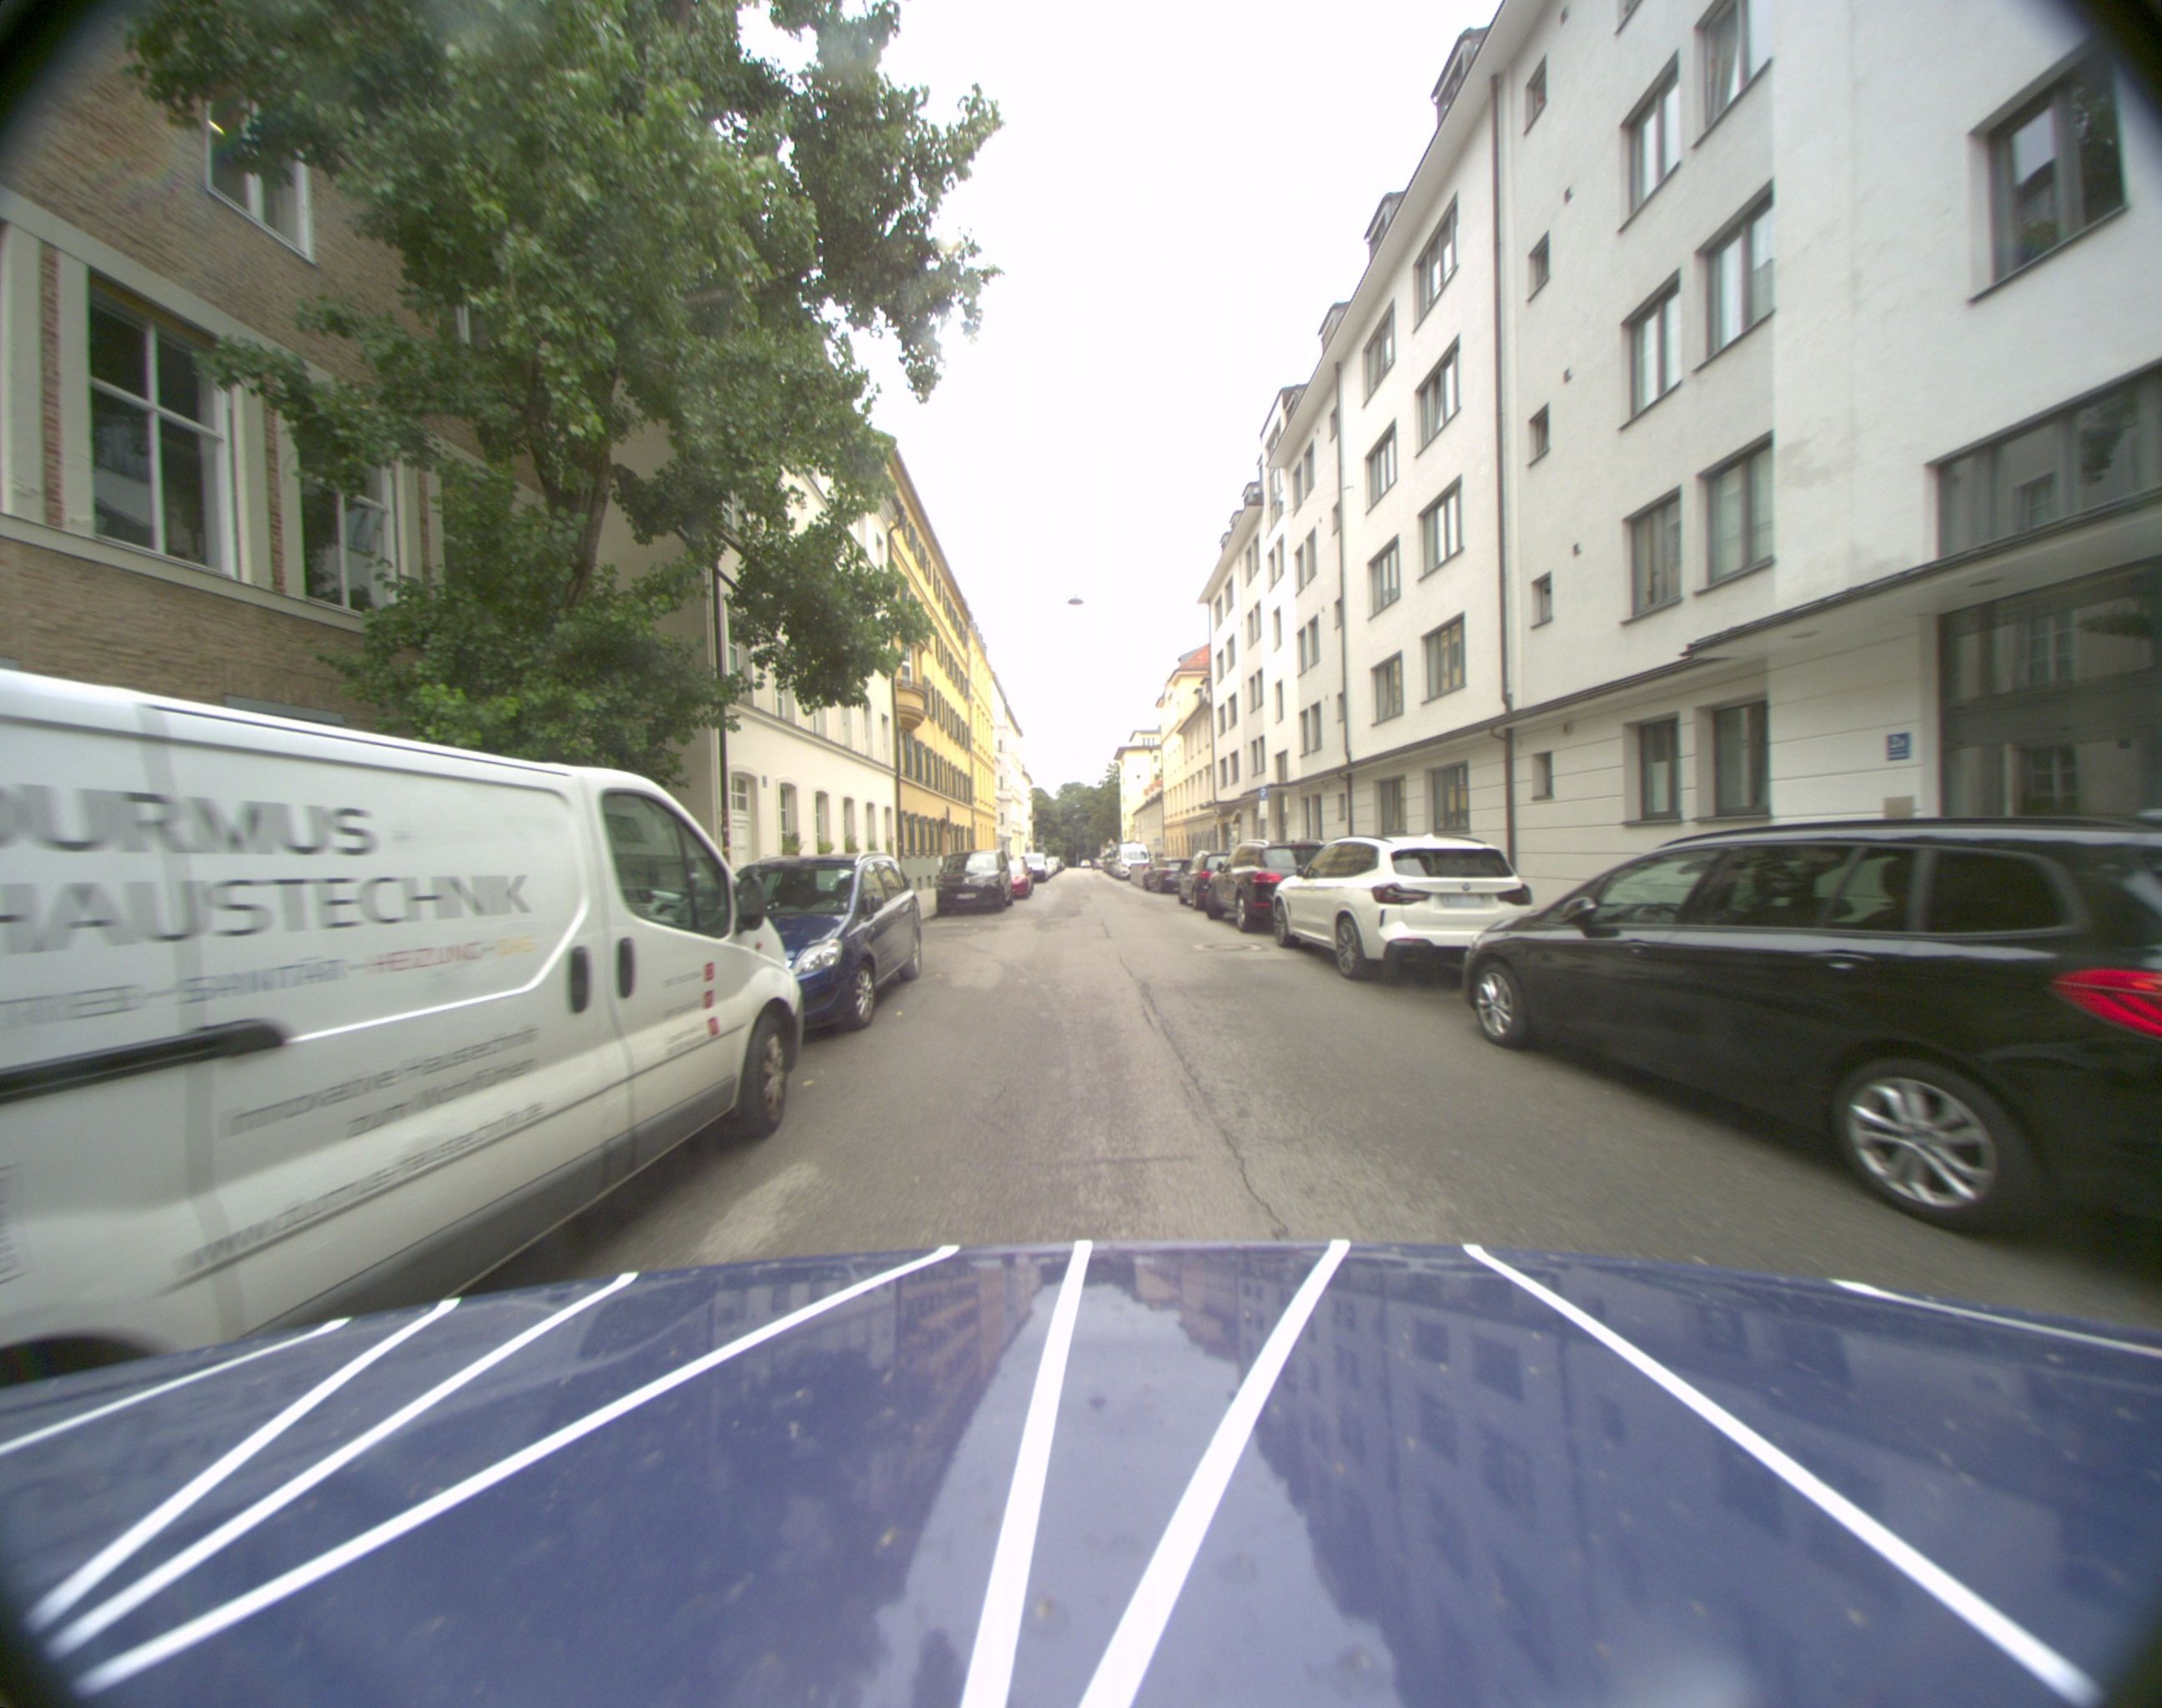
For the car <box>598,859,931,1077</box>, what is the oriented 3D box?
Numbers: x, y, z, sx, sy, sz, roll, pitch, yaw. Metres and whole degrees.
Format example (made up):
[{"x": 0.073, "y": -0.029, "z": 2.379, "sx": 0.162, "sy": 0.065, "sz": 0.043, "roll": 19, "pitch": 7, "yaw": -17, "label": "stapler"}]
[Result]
[{"x": -2.872, "y": 0.903, "z": 8.032, "sx": 1.812, "sy": 1.591, "sz": 4.214, "roll": -2, "pitch": 0, "yaw": -2, "label": "car"}]

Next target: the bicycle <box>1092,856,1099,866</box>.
[{"x": 1.754, "y": 0.888, "z": 91.959, "sx": 0.734, "sy": 1.144, "sz": 1.999, "roll": -2, "pitch": 0, "yaw": -1, "label": "bicycle"}]

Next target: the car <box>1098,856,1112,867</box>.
[{"x": 3.385, "y": 1.000, "z": 106.211, "sx": 1.711, "sy": 1.490, "sz": 4.000, "roll": -2, "pitch": 0, "yaw": -1, "label": "car"}]

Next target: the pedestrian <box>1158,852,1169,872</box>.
[{"x": 6.857, "y": 0.669, "z": 63.281, "sx": 0.807, "sy": 1.702, "sz": 1.021, "roll": -2, "pitch": 0, "yaw": 1, "label": "pedestrian"}]

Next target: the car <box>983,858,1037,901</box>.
[{"x": -2.647, "y": 0.930, "z": 29.147, "sx": 1.718, "sy": 1.415, "sz": 4.456, "roll": -2, "pitch": 0, "yaw": -1, "label": "car"}]

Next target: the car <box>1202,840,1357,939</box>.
[{"x": 3.753, "y": 0.624, "z": 15.260, "sx": 1.877, "sy": 1.678, "sz": 4.520, "roll": 0, "pitch": 0, "yaw": -1, "label": "car"}]

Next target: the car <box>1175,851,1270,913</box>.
[{"x": 3.791, "y": 0.703, "z": 21.039, "sx": 1.778, "sy": 1.530, "sz": 4.159, "roll": 0, "pitch": 0, "yaw": -1, "label": "car"}]

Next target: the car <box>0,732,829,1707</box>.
[{"x": -2.732, "y": 0.770, "z": 2.624, "sx": 1.886, "sy": 1.913, "sz": 4.875, "roll": -2, "pitch": 0, "yaw": 2, "label": "car"}]

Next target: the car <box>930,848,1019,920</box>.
[{"x": -2.952, "y": 0.765, "z": 21.938, "sx": 1.851, "sy": 1.766, "sz": 4.200, "roll": -4, "pitch": 1, "yaw": 0, "label": "car"}]

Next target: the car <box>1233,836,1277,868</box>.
[{"x": 11.960, "y": -0.128, "z": 52.603, "sx": 1.998, "sy": 2.002, "sz": 4.399, "roll": -3, "pitch": 0, "yaw": 1, "label": "car"}]

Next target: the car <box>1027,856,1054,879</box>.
[{"x": -2.902, "y": 0.930, "z": 54.641, "sx": 1.821, "sy": 1.501, "sz": 4.586, "roll": -2, "pitch": 0, "yaw": -2, "label": "car"}]

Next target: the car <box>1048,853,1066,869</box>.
[{"x": -2.948, "y": 0.813, "z": 94.228, "sx": 1.998, "sy": 1.850, "sz": 5.114, "roll": -2, "pitch": 0, "yaw": 1, "label": "car"}]

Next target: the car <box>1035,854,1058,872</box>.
[{"x": -2.963, "y": 0.760, "z": 65.850, "sx": 1.721, "sy": 1.501, "sz": 4.468, "roll": -2, "pitch": 0, "yaw": 0, "label": "car"}]

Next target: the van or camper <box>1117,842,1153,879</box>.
[{"x": 3.446, "y": 0.384, "z": 49.573, "sx": 1.998, "sy": 2.298, "sz": 5.478, "roll": 0, "pitch": 0, "yaw": 0, "label": "van or camper"}]

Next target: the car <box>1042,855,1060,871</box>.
[{"x": -3.036, "y": 0.893, "z": 77.838, "sx": 1.721, "sy": 1.592, "sz": 4.322, "roll": 0, "pitch": 0, "yaw": -2, "label": "car"}]

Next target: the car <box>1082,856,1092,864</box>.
[{"x": 1.179, "y": 1.165, "z": 141.464, "sx": 1.793, "sy": 1.409, "sz": 3.905, "roll": 0, "pitch": 0, "yaw": -1, "label": "car"}]

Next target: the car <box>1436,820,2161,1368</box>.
[{"x": 4.091, "y": 0.729, "z": 4.253, "sx": 1.877, "sy": 1.648, "sz": 4.589, "roll": 0, "pitch": 0, "yaw": -3, "label": "car"}]

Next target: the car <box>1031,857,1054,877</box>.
[{"x": -2.955, "y": 0.985, "z": 59.316, "sx": 1.627, "sy": 1.501, "sz": 3.761, "roll": -2, "pitch": 0, "yaw": -1, "label": "car"}]

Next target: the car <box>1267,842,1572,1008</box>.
[{"x": 3.953, "y": 0.722, "z": 9.891, "sx": 1.877, "sy": 1.648, "sz": 4.590, "roll": 0, "pitch": 0, "yaw": -1, "label": "car"}]

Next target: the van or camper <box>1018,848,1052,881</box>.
[{"x": -2.950, "y": 0.663, "z": 49.633, "sx": 1.999, "sy": 2.002, "sz": 5.232, "roll": -2, "pitch": 0, "yaw": -1, "label": "van or camper"}]

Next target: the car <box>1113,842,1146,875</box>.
[{"x": 3.485, "y": 0.322, "z": 55.241, "sx": 1.862, "sy": 2.188, "sz": 4.560, "roll": -2, "pitch": 0, "yaw": -2, "label": "car"}]

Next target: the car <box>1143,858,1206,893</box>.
[{"x": 3.733, "y": 0.828, "z": 30.922, "sx": 1.644, "sy": 1.346, "sz": 4.056, "roll": 0, "pitch": 0, "yaw": -7, "label": "car"}]

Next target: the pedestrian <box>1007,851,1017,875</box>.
[{"x": -4.806, "y": 0.648, "z": 52.954, "sx": 0.598, "sy": 1.629, "sz": 0.896, "roll": 1, "pitch": 0, "yaw": -2, "label": "pedestrian"}]

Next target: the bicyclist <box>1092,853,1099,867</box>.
[{"x": 1.736, "y": 0.685, "z": 91.872, "sx": 0.688, "sy": 1.618, "sz": 0.853, "roll": -2, "pitch": 1, "yaw": -1, "label": "bicyclist"}]

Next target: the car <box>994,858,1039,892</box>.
[{"x": -2.972, "y": 0.949, "z": 35.570, "sx": 1.750, "sy": 1.455, "sz": 4.000, "roll": -2, "pitch": 0, "yaw": 0, "label": "car"}]

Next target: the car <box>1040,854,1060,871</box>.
[{"x": -2.902, "y": 0.762, "z": 71.575, "sx": 1.721, "sy": 1.501, "sz": 3.936, "roll": -2, "pitch": 0, "yaw": -1, "label": "car"}]
